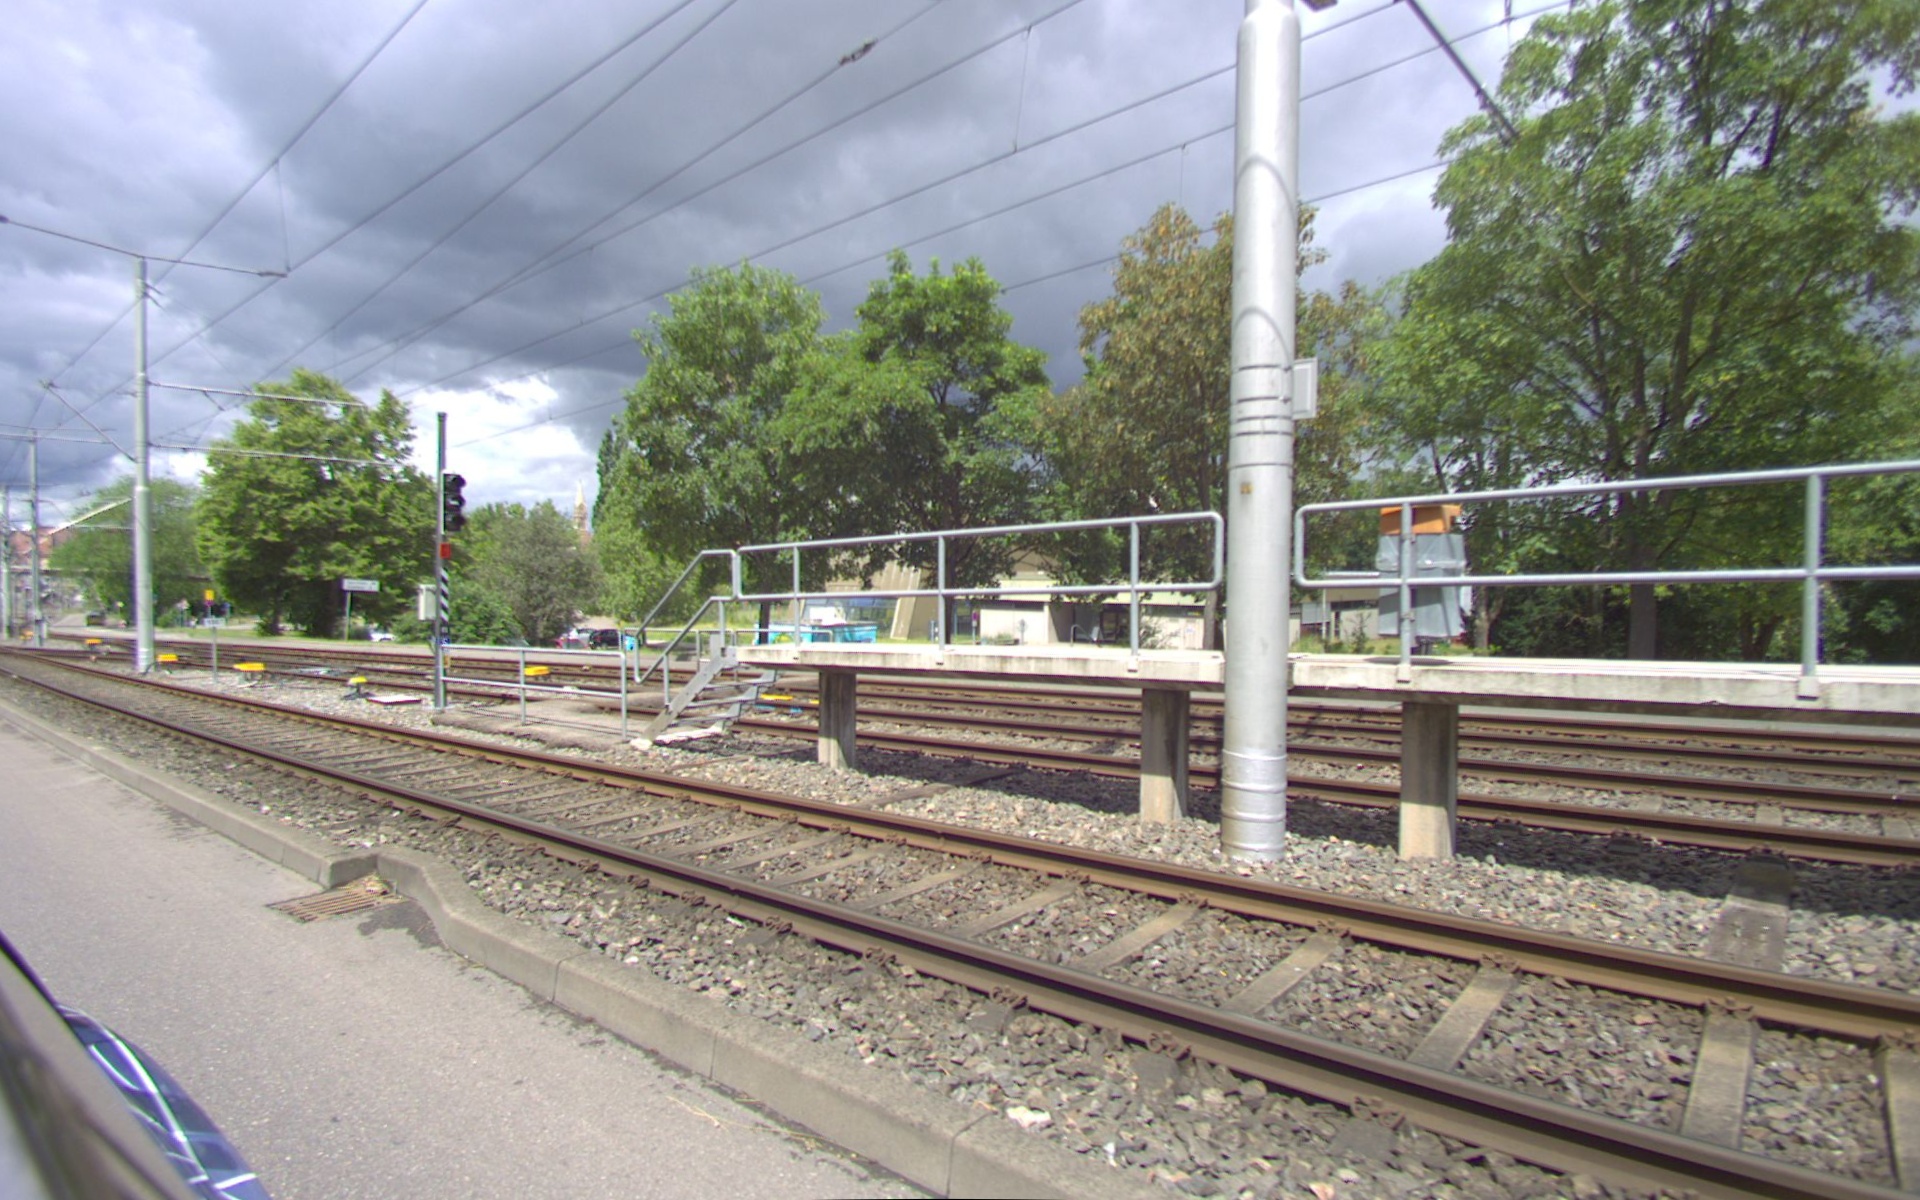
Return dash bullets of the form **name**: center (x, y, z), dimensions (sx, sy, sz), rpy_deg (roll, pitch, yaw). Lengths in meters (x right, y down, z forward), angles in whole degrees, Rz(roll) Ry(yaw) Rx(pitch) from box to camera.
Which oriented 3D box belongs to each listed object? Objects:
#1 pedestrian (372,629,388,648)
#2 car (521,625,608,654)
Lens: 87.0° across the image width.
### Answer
- **pedestrian**: center (-45.691, 3.014, 79.710), dimensions (0.678, 1.508, 0.817), rpy_deg (0, -2, 17)
- **car**: center (-20.525, 2.041, 52.545), dimensions (3.871, 1.420, 1.764), rpy_deg (2, -2, -37)
